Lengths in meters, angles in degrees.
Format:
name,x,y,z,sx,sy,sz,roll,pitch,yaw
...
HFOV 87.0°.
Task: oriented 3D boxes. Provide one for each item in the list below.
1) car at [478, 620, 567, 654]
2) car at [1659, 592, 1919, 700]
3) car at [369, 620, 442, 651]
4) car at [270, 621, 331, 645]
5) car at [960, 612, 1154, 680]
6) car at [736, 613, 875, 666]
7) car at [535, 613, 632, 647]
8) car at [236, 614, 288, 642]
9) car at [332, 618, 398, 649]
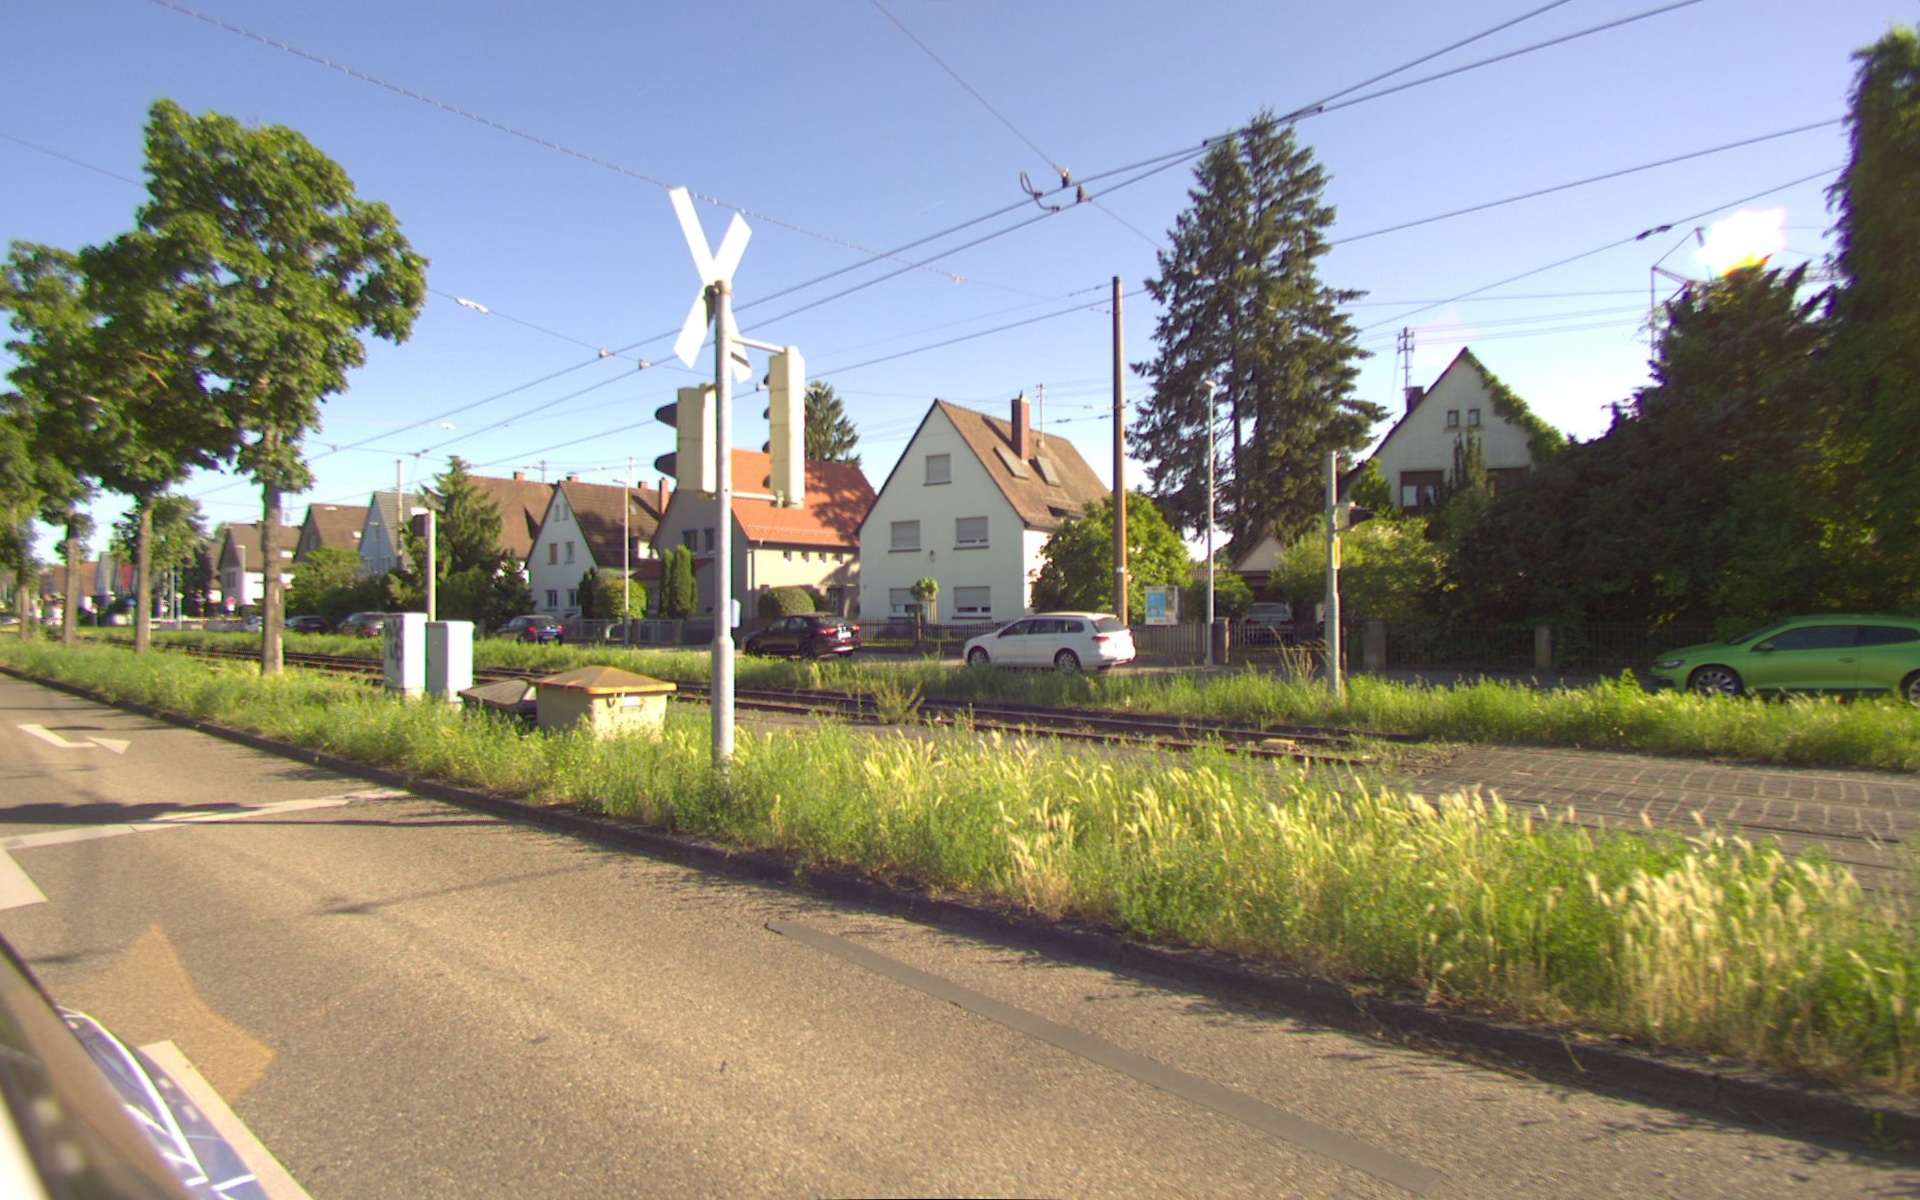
name,x,y,z,sx,sy,sz,roll,pitch,yaw
car,-19.120,1.580,44.113,4.309,1.382,1.972,-1,-1,42
car,13.558,0.664,15.907,4.065,1.512,1.974,-1,1,40
car,-29.490,1.844,53.760,4.837,1.483,1.864,-1,1,42
car,-42.176,2.085,64.687,4.980,1.351,1.973,-1,1,42
car,2.355,1.088,25.401,4.611,1.483,1.865,-1,1,40
car,-4.875,1.174,31.664,4.439,1.477,1.887,-1,1,42
car,-19.437,1.535,52.388,1.746,1.481,4.433,-1,1,39
car,-48.728,1.921,70.649,4.583,1.877,1.972,-1,-1,42
car,-33.455,1.867,56.897,4.535,1.572,1.864,-1,1,42
